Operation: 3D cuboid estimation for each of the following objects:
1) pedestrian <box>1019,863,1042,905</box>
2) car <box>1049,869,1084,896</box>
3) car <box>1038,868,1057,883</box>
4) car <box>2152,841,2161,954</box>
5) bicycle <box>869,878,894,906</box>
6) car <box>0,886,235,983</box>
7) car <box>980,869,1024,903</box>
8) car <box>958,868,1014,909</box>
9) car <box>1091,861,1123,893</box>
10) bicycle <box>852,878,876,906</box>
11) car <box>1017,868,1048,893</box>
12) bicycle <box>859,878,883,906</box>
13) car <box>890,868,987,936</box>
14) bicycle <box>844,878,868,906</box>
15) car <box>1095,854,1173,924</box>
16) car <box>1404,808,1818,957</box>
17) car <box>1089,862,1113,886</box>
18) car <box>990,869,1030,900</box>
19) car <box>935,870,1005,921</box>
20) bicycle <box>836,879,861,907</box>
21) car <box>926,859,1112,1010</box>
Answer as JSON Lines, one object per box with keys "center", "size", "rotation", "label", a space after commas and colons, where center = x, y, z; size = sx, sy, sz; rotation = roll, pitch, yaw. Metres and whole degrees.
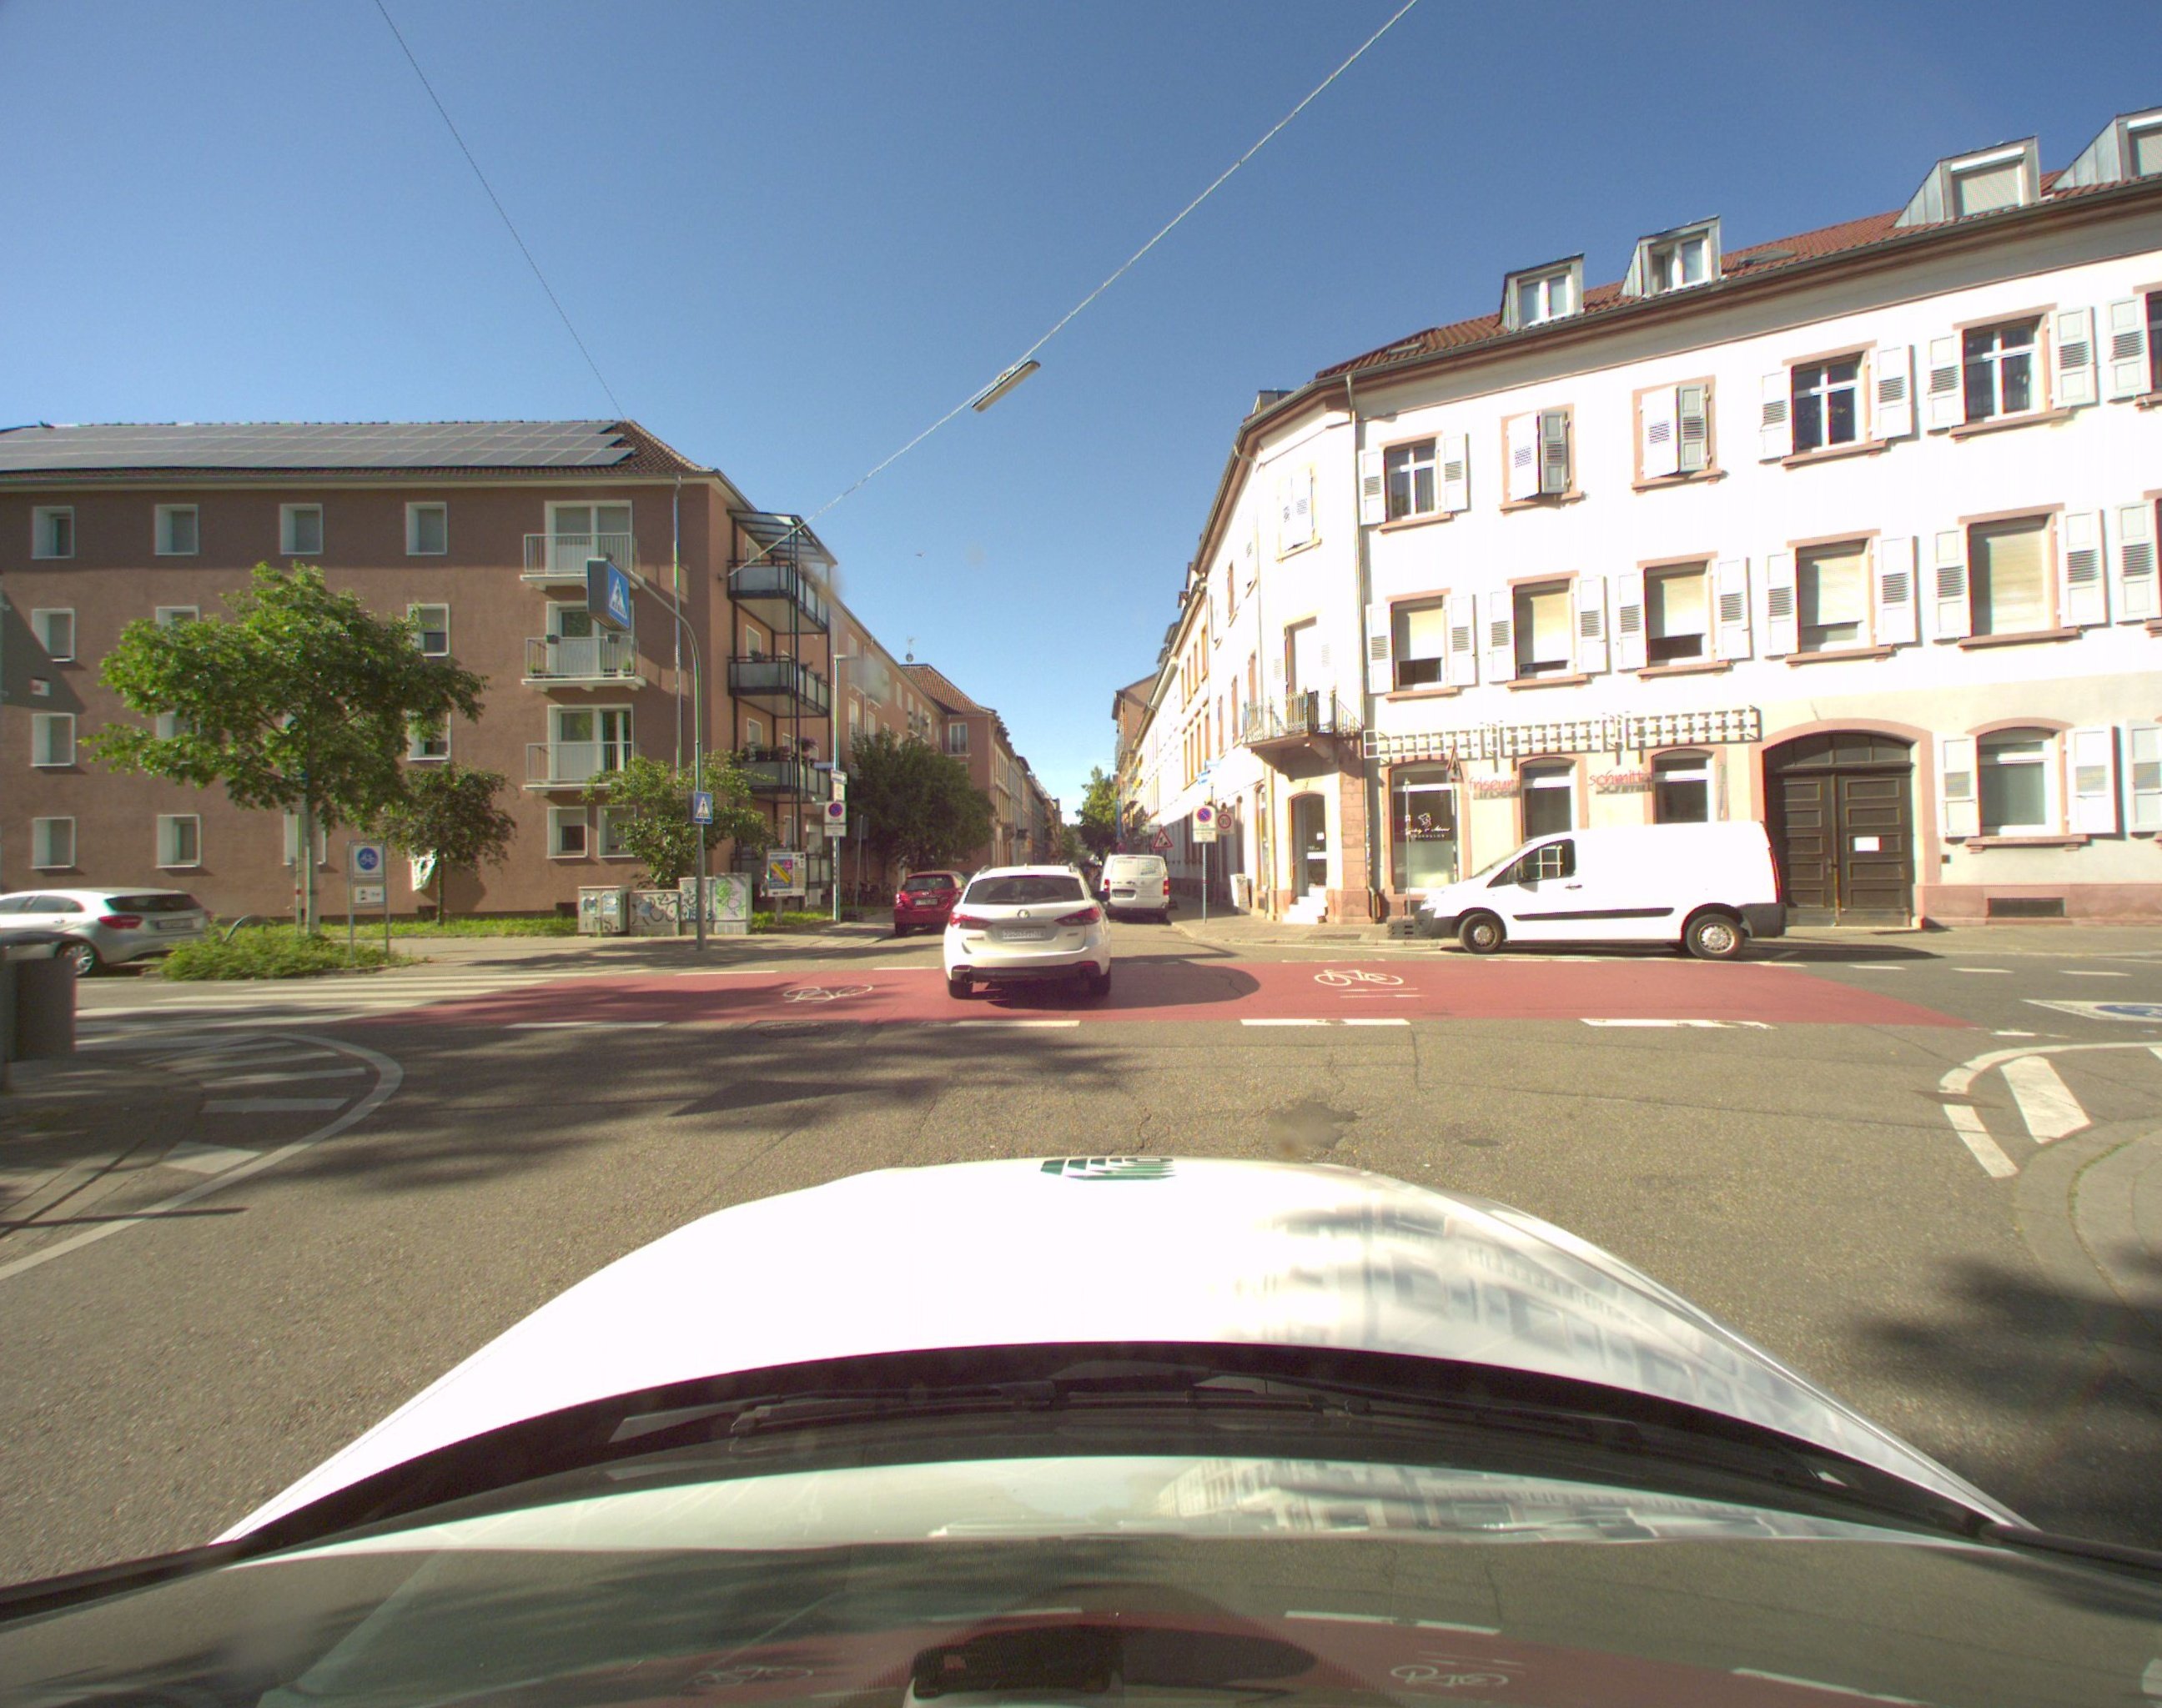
{"center": [-2.000, 1.165, 32.177], "size": [0.733, 1.614, 0.813], "rotation": [-1, -1, -11], "label": "pedestrian"}
{"center": [-0.765, 1.587, 46.240], "size": [1.754, 1.410, 4.328], "rotation": [-1, -1, 1], "label": "car"}
{"center": [-3.441, 2.211, 84.488], "size": [1.647, 1.500, 3.763], "rotation": [-1, -1, 1], "label": "car"}
{"center": [16.347, 0.516, 9.524], "size": [4.330, 1.542, 1.654], "rotation": [-2, -2, 22], "label": "car"}
{"center": [-7.873, 1.497, 32.116], "size": [1.204, 1.071, 0.255], "rotation": [-2, -1, 40], "label": "bicycle"}
{"center": [-17.434, 1.352, 13.885], "size": [4.129, 1.454, 1.745], "rotation": [-1, -1, -1], "label": "car"}
{"center": [-3.715, 1.471, 38.862], "size": [1.647, 1.500, 3.763], "rotation": [-1, -1, 1], "label": "car"}
{"center": [-3.681, 1.318, 32.027], "size": [1.647, 1.500, 3.763], "rotation": [-1, -1, 1], "label": "car"}
{"center": [1.750, 1.513, 54.937], "size": [1.888, 1.859, 3.996], "rotation": [-6, -1, 2], "label": "car"}
{"center": [-8.480, 1.484, 31.814], "size": [1.201, 1.071, 0.255], "rotation": [-2, -1, 40], "label": "bicycle"}
{"center": [-3.145, 1.714, 53.374], "size": [1.647, 1.500, 3.763], "rotation": [-1, -1, 1], "label": "car"}
{"center": [-8.281, 1.484, 32.047], "size": [1.201, 1.071, 0.255], "rotation": [-2, -1, 40], "label": "bicycle"}
{"center": [-3.531, 1.156, 20.868], "size": [1.679, 1.500, 3.807], "rotation": [-2, -1, 1], "label": "car"}
{"center": [-8.725, 1.480, 31.542], "size": [1.201, 1.072, 0.268], "rotation": [-2, -1, 40], "label": "bicycle"}
{"center": [1.459, 0.984, 24.429], "size": [1.889, 1.859, 5.010], "rotation": [1, -1, -1], "label": "car"}
{"center": [7.755, 0.437, 12.592], "size": [4.963, 1.946, 2.062], "rotation": [-2, -1, 25], "label": "car"}
{"center": [1.625, 1.594, 65.595], "size": [1.888, 1.859, 3.995], "rotation": [-1, -1, 1], "label": "car"}
{"center": [-3.674, 1.574, 42.778], "size": [1.647, 1.500, 3.763], "rotation": [-1, -1, 1], "label": "car"}
{"center": [-3.586, 1.317, 27.008], "size": [1.647, 1.500, 4.080], "rotation": [-1, -1, 1], "label": "car"}
{"center": [-8.937, 1.504, 31.295], "size": [1.201, 1.035, 0.293], "rotation": [-2, -1, 40], "label": "bicycle"}
{"center": [-0.569, 0.836, 10.075], "size": [1.824, 1.457, 3.963], "rotation": [-1, -1, 1], "label": "car"}
